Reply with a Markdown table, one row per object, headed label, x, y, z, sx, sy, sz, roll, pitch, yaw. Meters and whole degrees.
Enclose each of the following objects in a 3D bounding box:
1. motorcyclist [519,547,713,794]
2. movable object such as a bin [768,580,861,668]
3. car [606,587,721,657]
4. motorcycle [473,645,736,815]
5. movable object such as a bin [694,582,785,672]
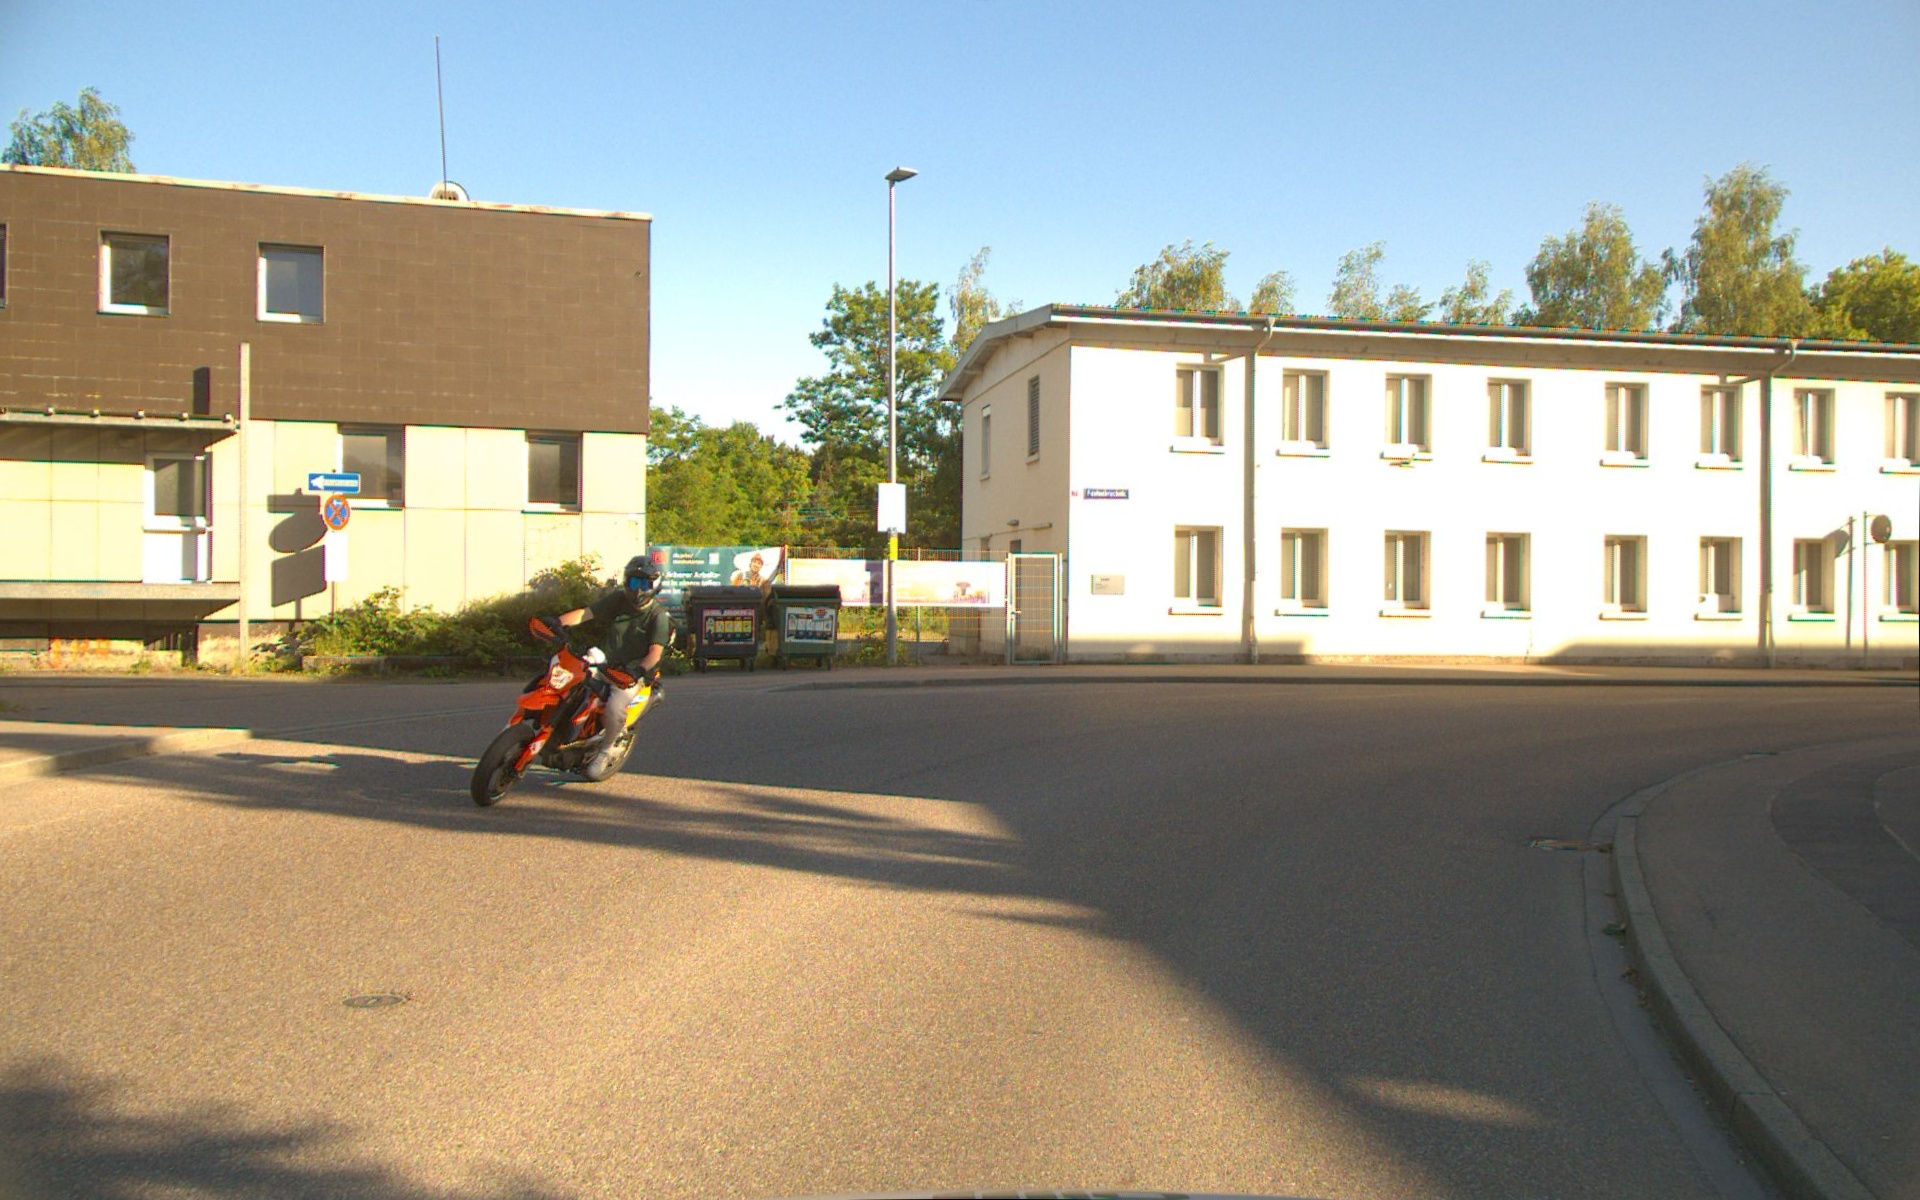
| label | x | y | z | sx | sy | sz | roll | pitch | yaw |
| --- | --- | --- | --- | --- | --- | --- | --- | --- | --- |
| motorcyclist | -2.410 | 0.465 | 11.723 | 0.845 | 1.639 | 1.243 | 1 | 0 | 16 |
| movable object such as a bin | -2.564 | 0.410 | 29.053 | 1.349 | 1.497 | 1.194 | 0 | 0 | -22 |
| car | -7.444 | 0.513 | 41.231 | 1.967 | 1.646 | 3.970 | 0 | 0 | -24 |
| motorcycle | -2.429 | 0.857 | 11.674 | 0.815 | 0.989 | 2.301 | 1 | 0 | 16 |
| movable object such as a bin | -3.817 | 0.447 | 28.518 | 1.267 | 1.497 | 1.356 | 0 | 0 | -22 |
